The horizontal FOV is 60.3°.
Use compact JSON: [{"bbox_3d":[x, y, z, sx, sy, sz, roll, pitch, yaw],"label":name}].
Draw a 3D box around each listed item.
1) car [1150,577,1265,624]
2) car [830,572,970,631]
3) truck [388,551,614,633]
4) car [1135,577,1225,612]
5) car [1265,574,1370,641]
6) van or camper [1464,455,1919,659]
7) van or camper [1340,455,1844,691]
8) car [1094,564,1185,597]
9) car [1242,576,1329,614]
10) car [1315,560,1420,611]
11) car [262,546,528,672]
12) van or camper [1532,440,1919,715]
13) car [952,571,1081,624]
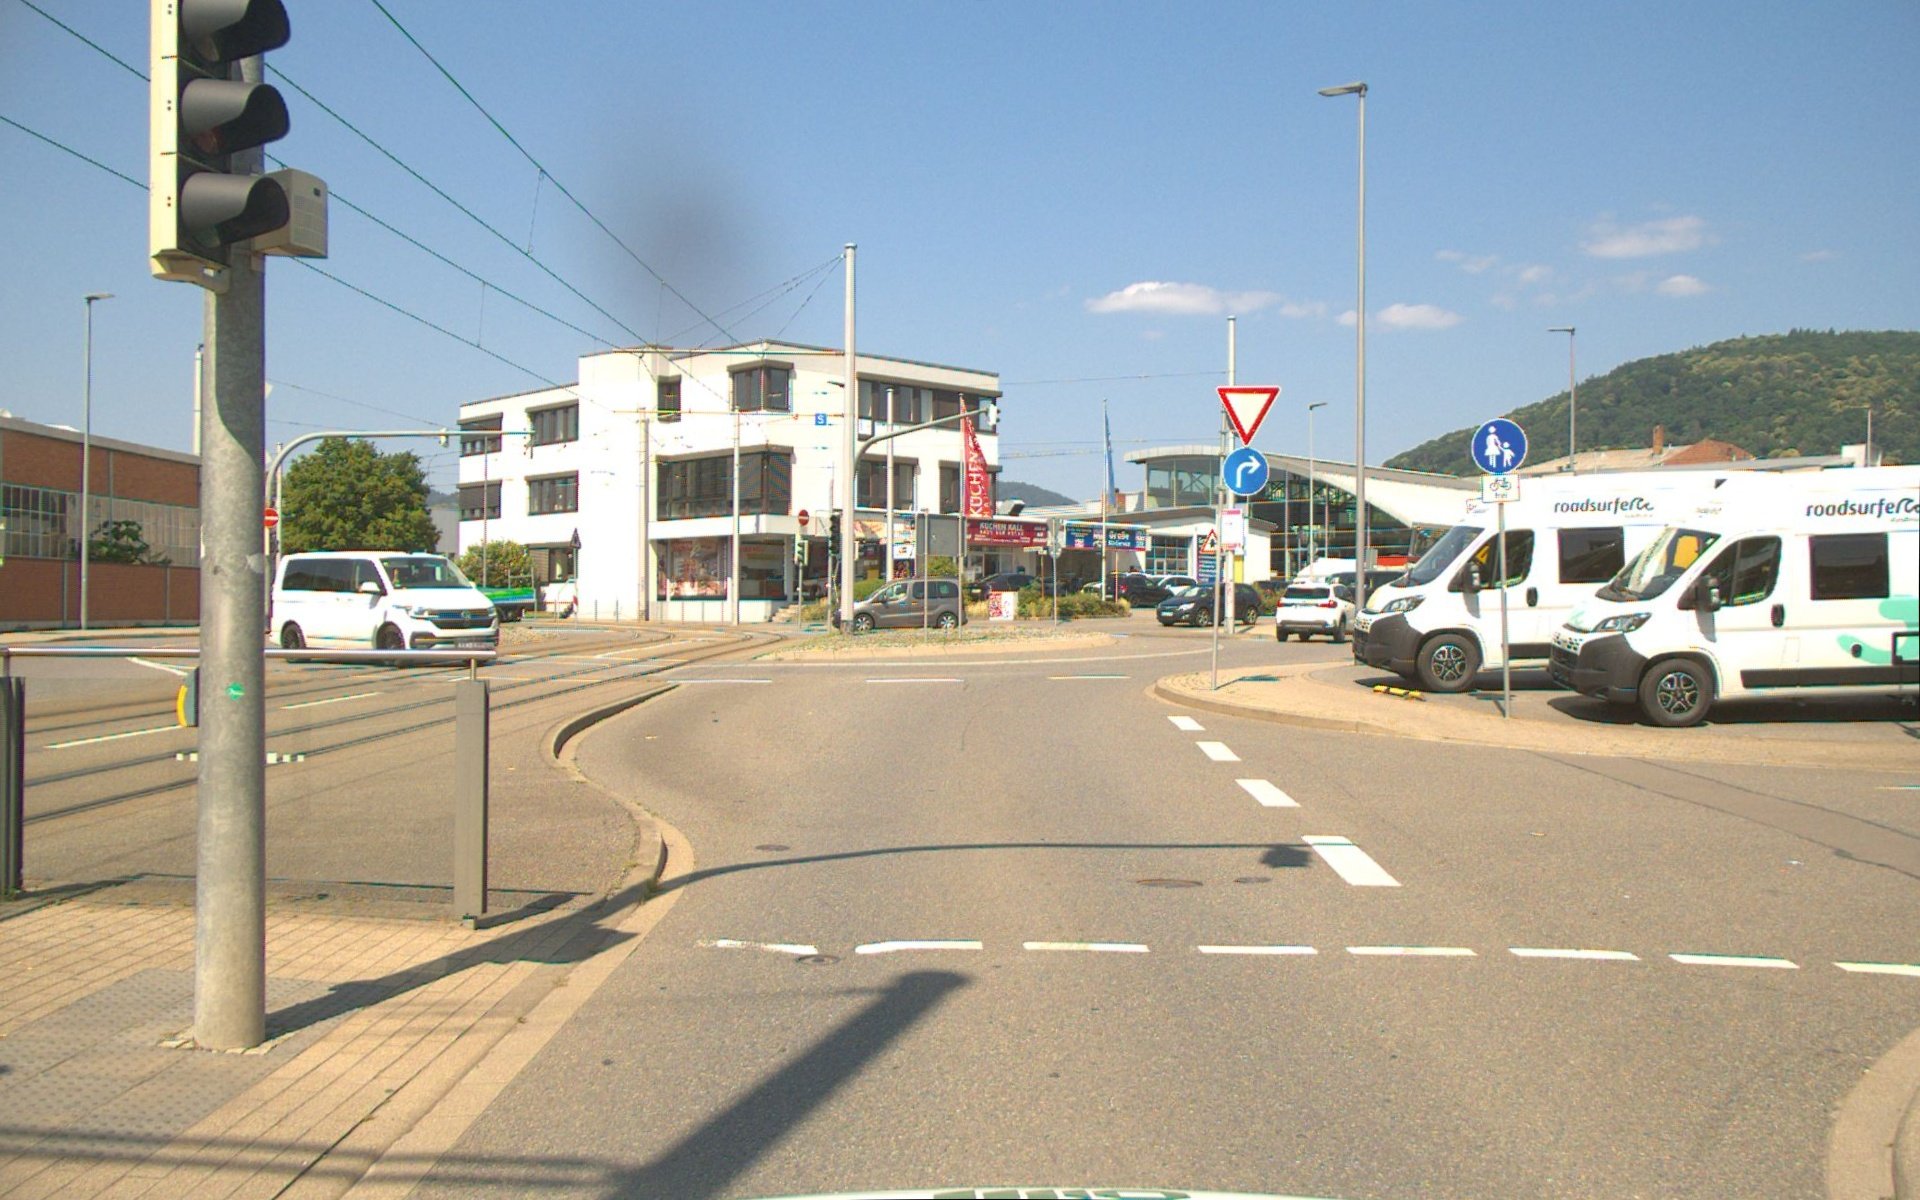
[{"bbox_3d":[8.765,0.007,58.394,4.211,1.583,1.937,0,1,-45],"label":"car"},{"bbox_3d":[-1.936,0.032,52.973,4.312,1.850,1.986,0,0,-8],"label":"car"},{"bbox_3d":[-13.902,-0.244,50.314,6.308,2.378,2.185,0,0,-33],"label":"truck"},{"bbox_3d":[10.862,-0.283,81.441,1.854,1.616,4.896,-2,-1,43],"label":"car"},{"bbox_3d":[10.057,0.189,46.257,1.954,1.763,4.562,0,0,24],"label":"car"},{"bbox_3d":[12.114,-0.677,27.144,6.916,2.998,2.335,-2,0,0],"label":"van or camper"},{"bbox_3d":[7.953,-0.338,21.274,5.689,2.822,2.092,-1,1,3],"label":"van or camper"},{"bbox_3d":[8.161,-0.876,75.057,1.998,1.452,4.289,1,1,43],"label":"car"},{"bbox_3d":[14.665,-0.238,74.416,1.967,1.646,3.972,0,1,45],"label":"car"},{"bbox_3d":[16.154,-0.622,65.446,2.062,1.943,4.608,1,2,43],"label":"car"},{"bbox_3d":[-10.099,0.124,29.396,4.920,2.049,2.160,0,0,38],"label":"car"},{"bbox_3d":[9.395,-0.274,18.323,5.390,2.863,2.049,1,2,4],"label":"van or camper"},{"bbox_3d":[2.258,-0.121,64.956,5.237,2.000,1.935,0,0,-43],"label":"car"}]
